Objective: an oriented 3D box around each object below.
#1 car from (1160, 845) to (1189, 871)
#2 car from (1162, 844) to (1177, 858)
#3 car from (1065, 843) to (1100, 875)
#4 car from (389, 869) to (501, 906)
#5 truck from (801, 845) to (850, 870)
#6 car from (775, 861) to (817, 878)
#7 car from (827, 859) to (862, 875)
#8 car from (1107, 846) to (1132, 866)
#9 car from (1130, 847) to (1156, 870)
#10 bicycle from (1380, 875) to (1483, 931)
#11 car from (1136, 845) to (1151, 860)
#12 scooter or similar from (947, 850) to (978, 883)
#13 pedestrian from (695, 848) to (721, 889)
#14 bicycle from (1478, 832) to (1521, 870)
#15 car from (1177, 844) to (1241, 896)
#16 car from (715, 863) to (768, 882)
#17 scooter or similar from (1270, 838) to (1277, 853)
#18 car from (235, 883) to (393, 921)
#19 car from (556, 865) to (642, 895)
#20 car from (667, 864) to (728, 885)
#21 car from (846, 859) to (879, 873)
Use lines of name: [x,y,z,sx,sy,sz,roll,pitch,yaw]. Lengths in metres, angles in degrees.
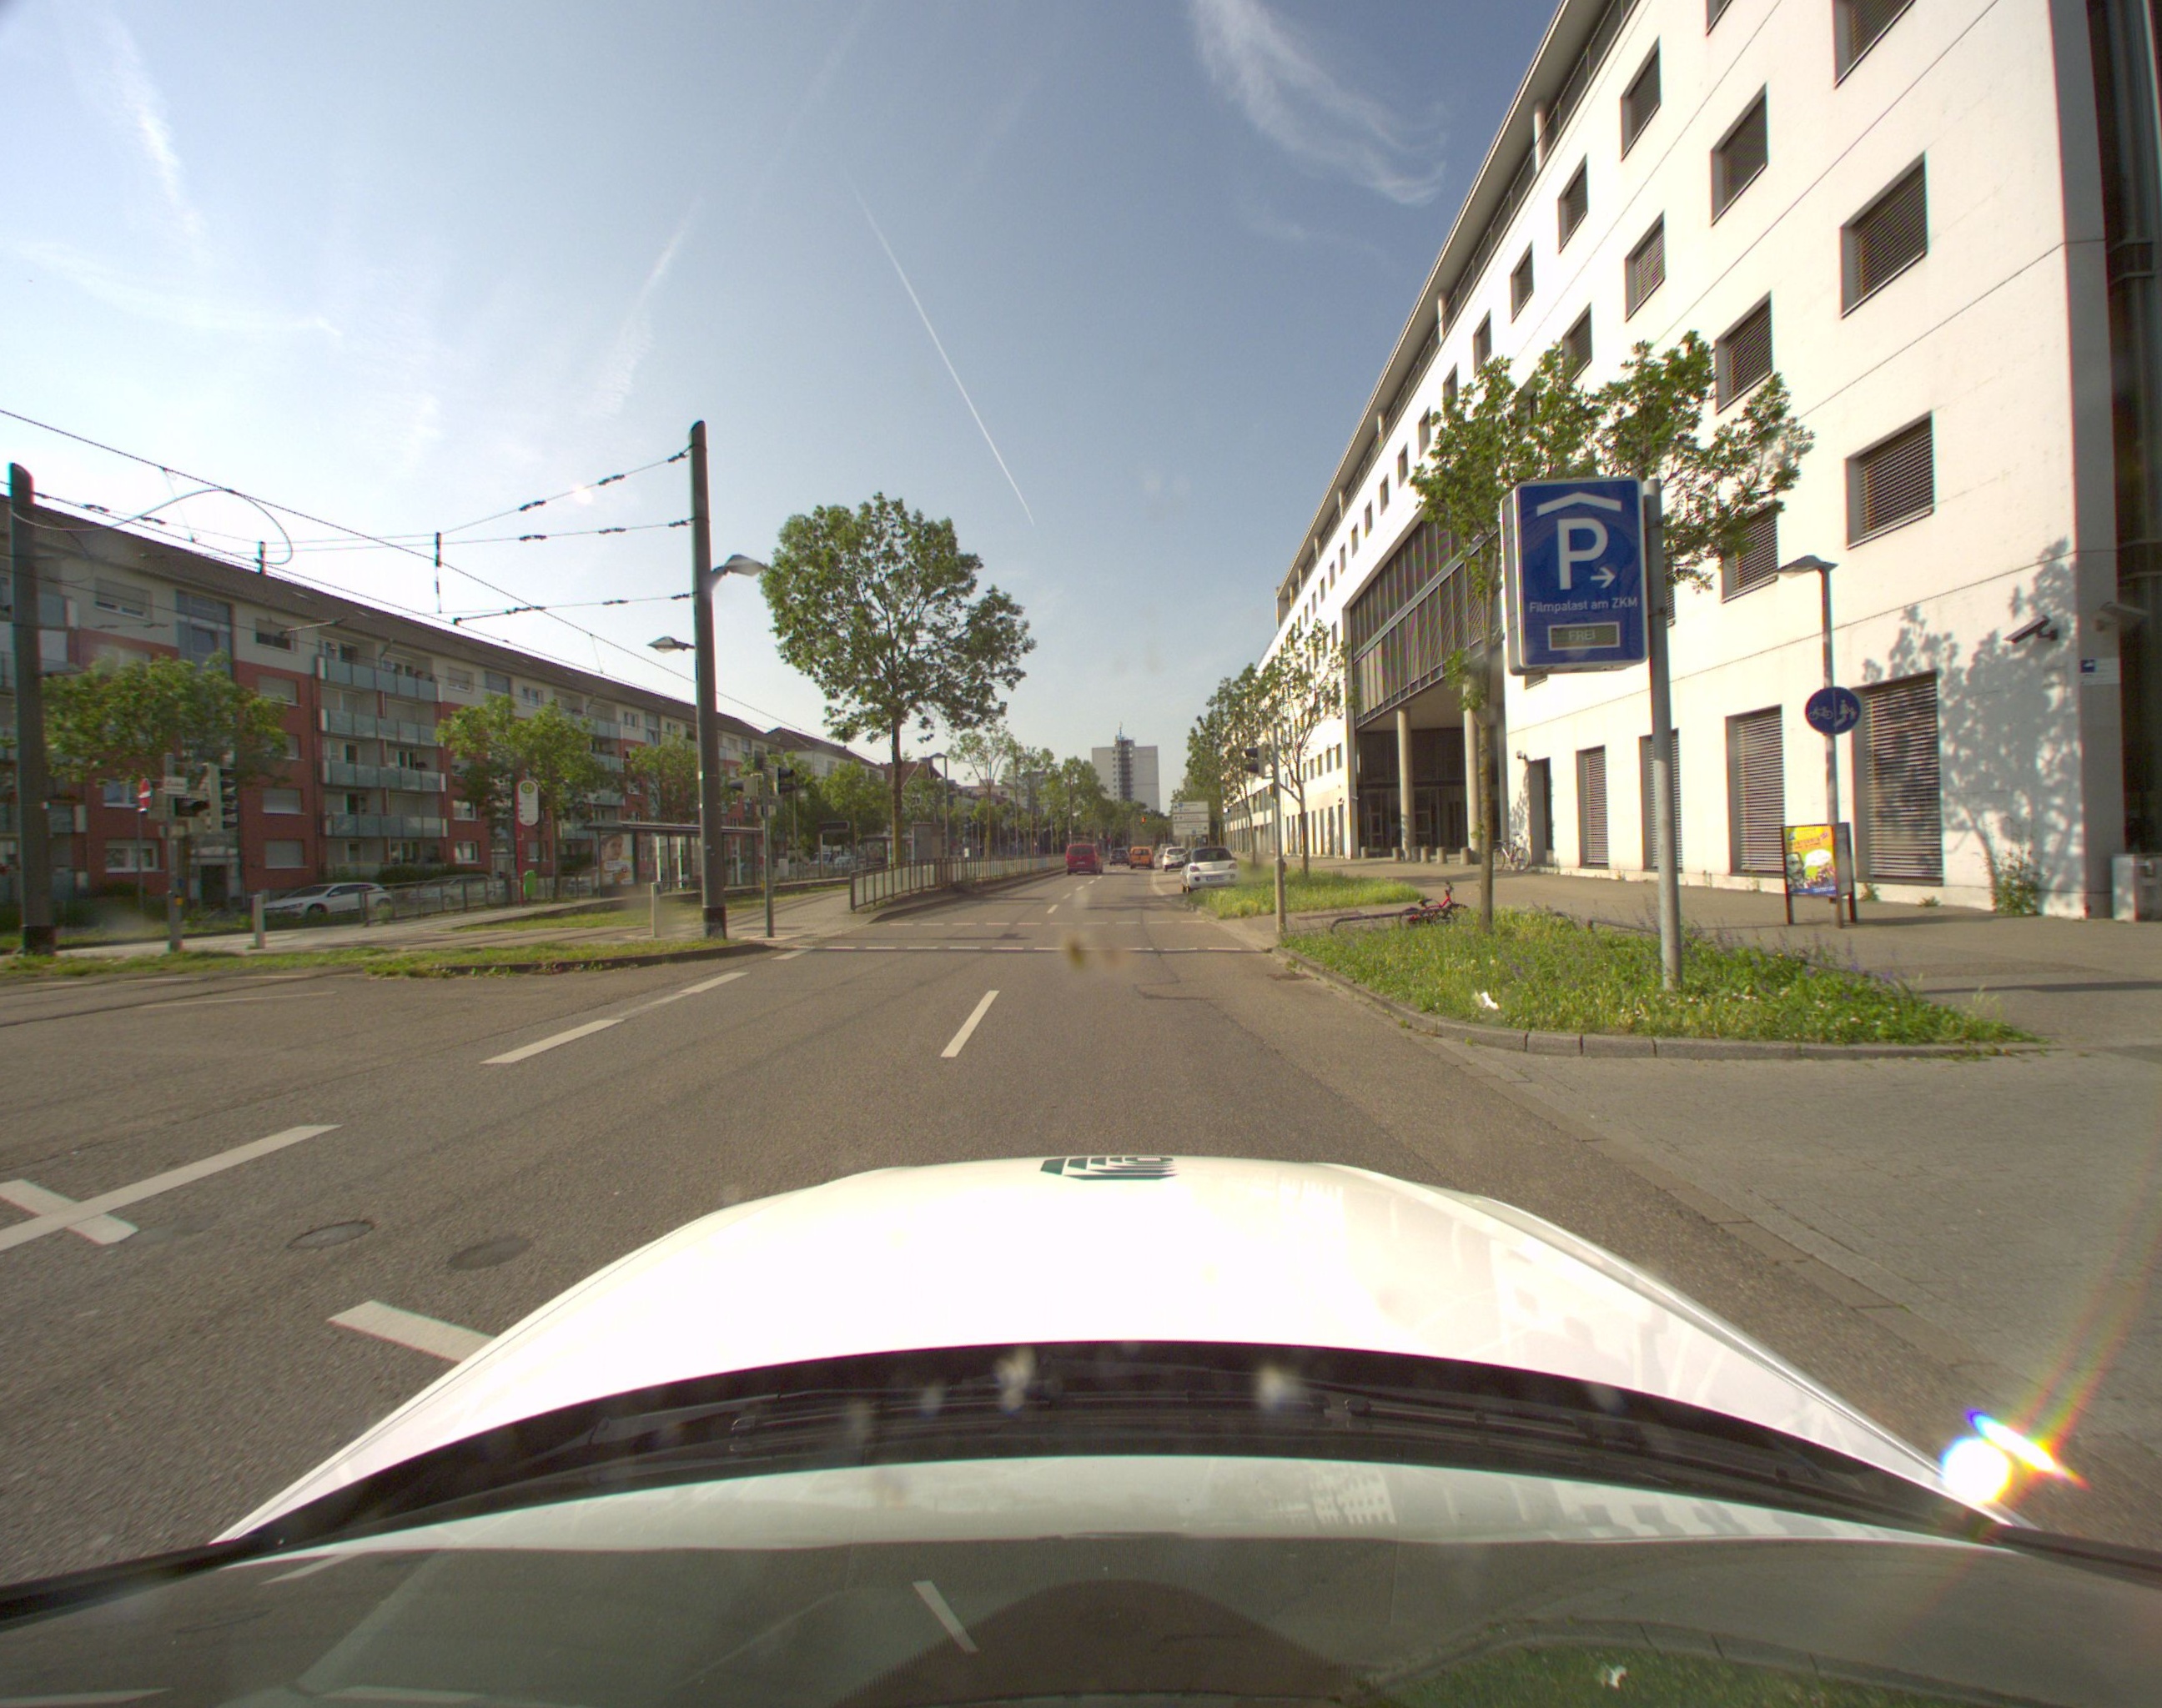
car: [6.021,0.222,52.565,1.680,1.526,3.857,-4,0,5]
car: [12.574,-0.431,115.976,1.984,2.013,4.006,-2,0,5]
car: [0.142,0.310,50.578,1.866,1.853,4.005,-1,0,4]
car: [-28.360,1.454,36.503,1.825,1.471,3.832,0,0,4]
truck: [-26.850,0.368,85.971,2.355,2.563,7.250,0,0,5]
car: [-24.779,1.346,70.958,1.971,1.360,4.074,0,0,4]
car: [-23.676,1.312,81.626,1.971,1.513,4.286,0,0,4]
car: [3.552,0.172,74.501,1.984,1.706,4.006,-2,0,5]
car: [4.836,0.345,63.400,1.866,1.696,3.980,-1,0,6]
bicycle: [5.182,0.723,12.092,1.262,0.632,0.523,-8,-2,12]
car: [8.849,-0.279,115.406,1.984,2.013,4.005,-2,0,4]
scooter or similar: [-4.573,0.483,31.569,0.422,1.239,1.270,-3,0,32]
pedestrian: [-15.433,0.605,33.711,0.669,1.653,0.795,-2,0,1]
bicycle: [12.531,-0.085,24.414,0.491,1.086,1.551,-3,0,2]
car: [4.090,0.466,26.457,1.712,1.519,3.786,-2,1,4]
car: [-25.575,1.375,61.498,1.971,1.360,4.074,0,0,4]
scooter or similar: [16.089,-0.698,68.083,0.459,1.213,1.258,-3,0,11]
car: [-28.602,1.755,30.580,1.825,1.147,4.170,0,0,4]
car: [-27.406,1.423,46.488,1.971,1.556,4.543,0,0,4]
car: [-26.320,1.393,56.063,1.971,1.360,4.074,0,0,4]
car: [-23.278,1.296,86.946,1.971,1.379,4.689,0,0,5]
